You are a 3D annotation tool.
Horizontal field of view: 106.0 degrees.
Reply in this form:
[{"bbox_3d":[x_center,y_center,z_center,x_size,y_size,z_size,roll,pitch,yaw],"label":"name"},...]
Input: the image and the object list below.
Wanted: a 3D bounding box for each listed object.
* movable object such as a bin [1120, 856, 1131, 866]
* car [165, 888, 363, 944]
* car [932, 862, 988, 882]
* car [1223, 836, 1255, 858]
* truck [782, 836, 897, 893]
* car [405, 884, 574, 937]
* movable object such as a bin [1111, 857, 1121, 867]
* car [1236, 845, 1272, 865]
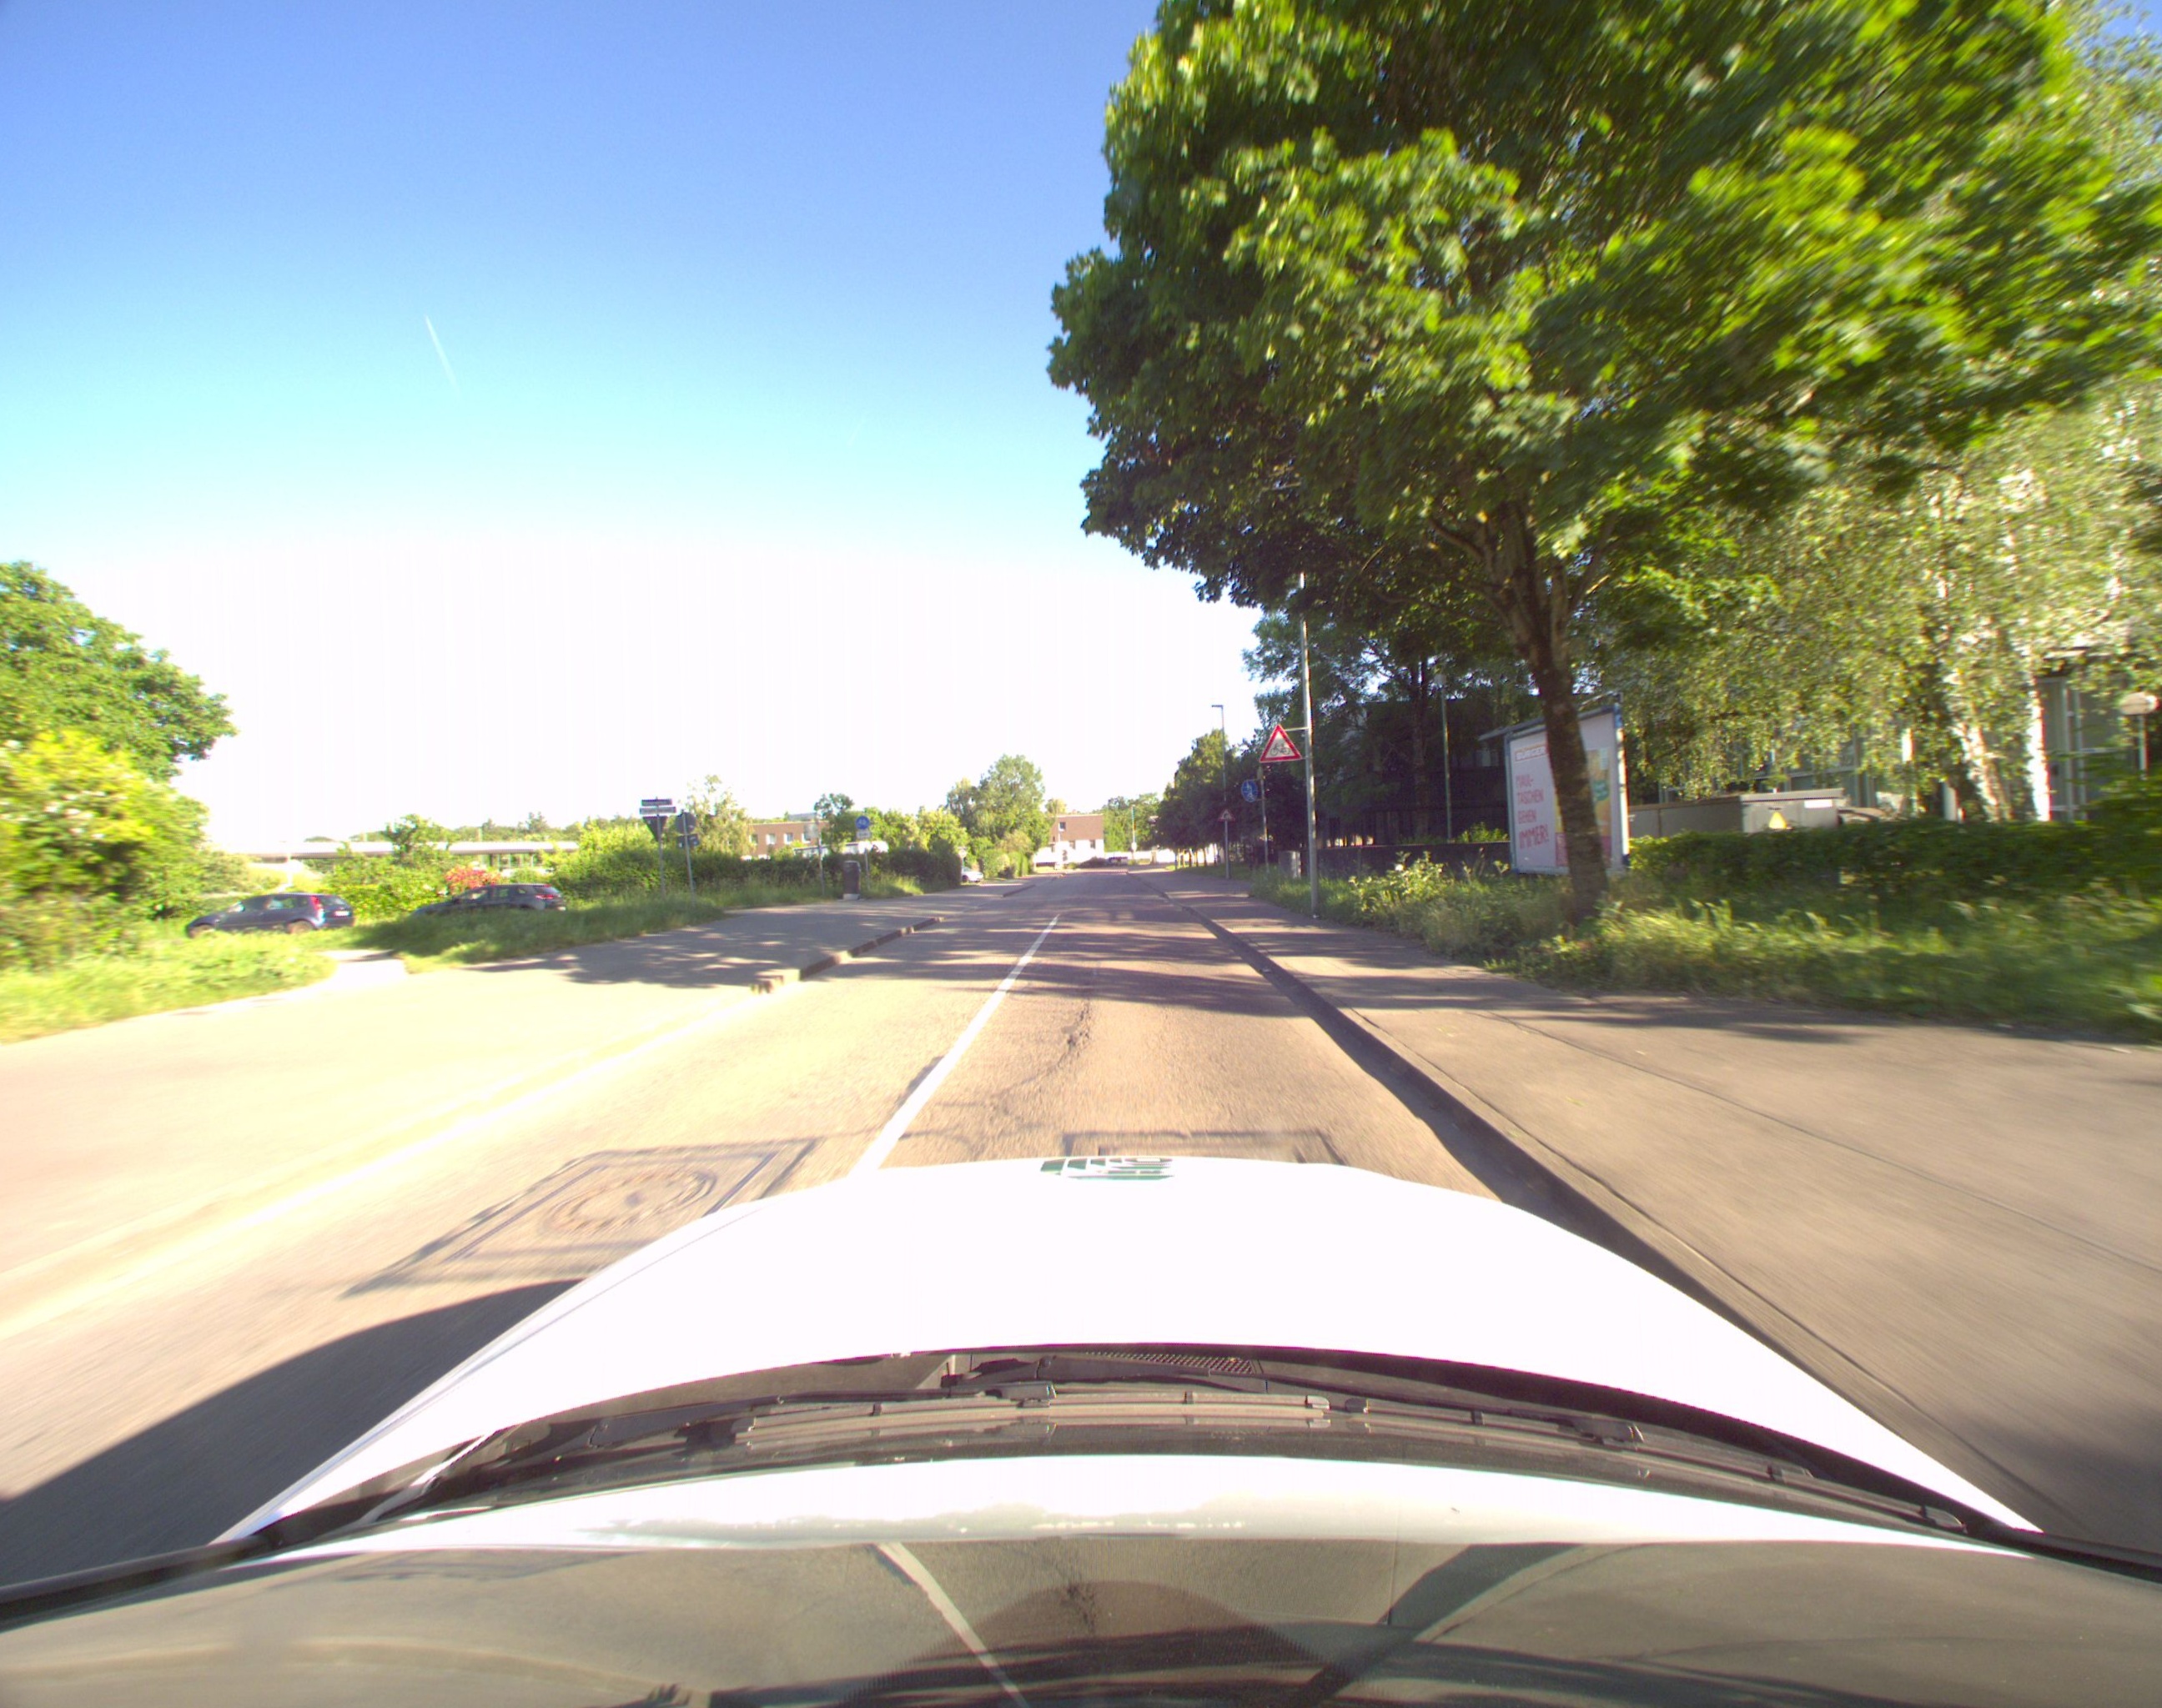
[{"bbox_3d":[6.423,1.070,116.949,1.363,1.418,1.063,-1,-1,-6],"label":"movable object such as a bin"},{"bbox_3d":[-25.684,1.924,25.767,4.026,1.448,1.881,-3,-3,-11],"label":"car"},{"bbox_3d":[-9.754,1.435,65.642,4.170,1.490,1.888,-2,-1,28],"label":"car"},{"bbox_3d":[14.794,-0.626,76.331,1.831,1.814,4.660,-1,-1,-3],"label":"car"},{"bbox_3d":[-18.508,0.859,62.061,9.214,3.884,2.728,-3,-2,31],"label":"truck"},{"bbox_3d":[-19.330,1.834,26.801,4.026,1.448,1.881,-3,-3,-11],"label":"car"},{"bbox_3d":[5.003,1.093,116.773,1.363,1.418,1.063,-1,-1,-6],"label":"movable object such as a bin"},{"bbox_3d":[13.503,0.111,63.760,1.829,1.467,4.277,-1,-1,-1],"label":"car"}]
